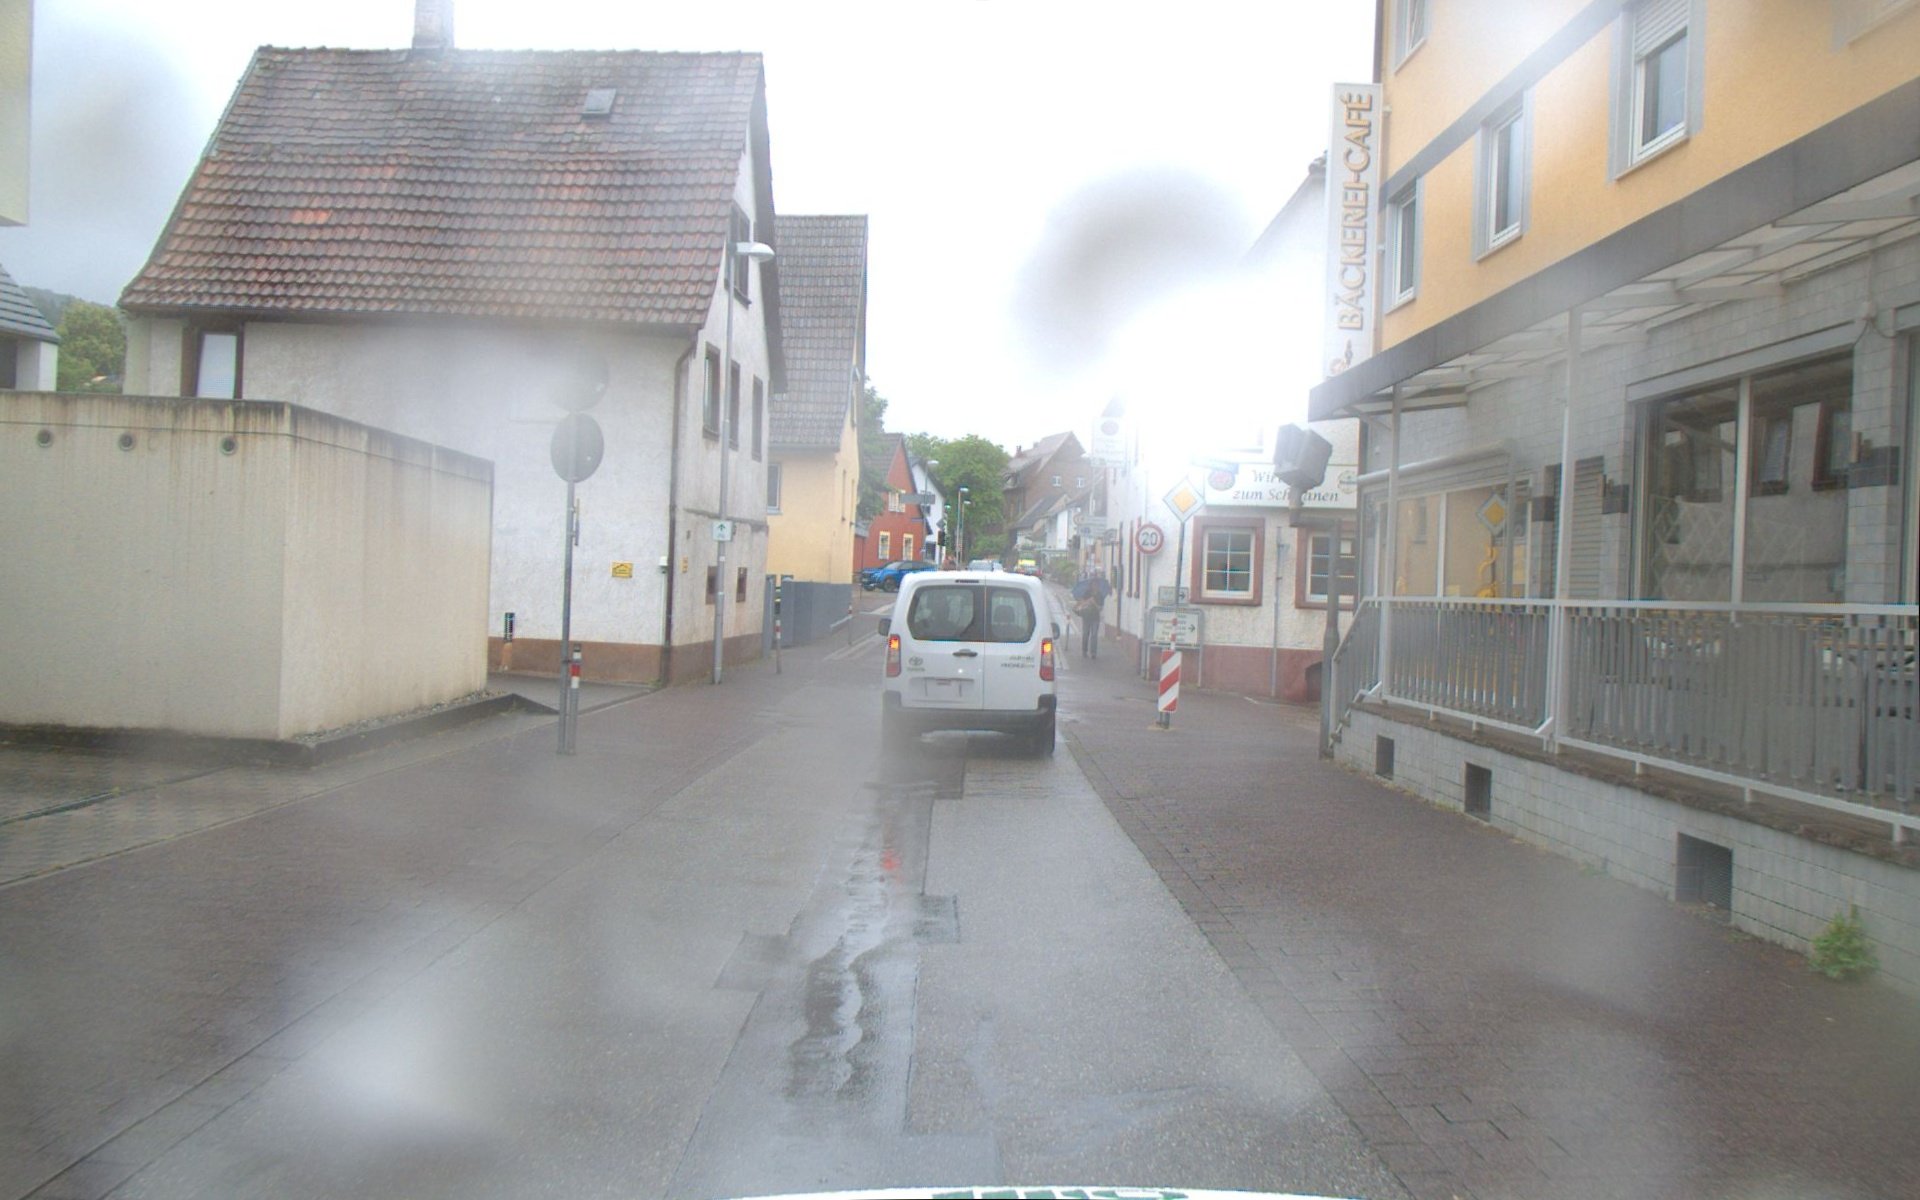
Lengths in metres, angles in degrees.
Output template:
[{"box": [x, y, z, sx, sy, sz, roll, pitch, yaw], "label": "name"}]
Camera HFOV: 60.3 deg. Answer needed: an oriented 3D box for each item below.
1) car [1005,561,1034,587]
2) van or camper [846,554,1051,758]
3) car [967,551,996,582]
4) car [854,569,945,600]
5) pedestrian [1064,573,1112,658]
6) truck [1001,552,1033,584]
[{"box": [4.264, -1.877, 119.638, 1.953, 1.777, 4.000, 1, 1, 0], "label": "car"}, {"box": [-0.040, 0.535, 17.823, 1.903, 1.883, 4.001, 2, 0, 2], "label": "van or camper"}, {"box": [1.343, -2.106, 102.811, 1.775, 1.810, 4.019, 1, 2, 1], "label": "car"}, {"box": [-2.904, -0.742, 79.896, 3.954, 1.397, 2.085, 1, 0, -35], "label": "car"}, {"box": [2.772, 0.333, 35.854, 0.973, 1.766, 0.812, 2, 3, 6], "label": "pedestrian"}, {"box": [4.543, -2.572, 132.826, 2.302, 2.468, 4.949, 1, 1, 0], "label": "truck"}]
